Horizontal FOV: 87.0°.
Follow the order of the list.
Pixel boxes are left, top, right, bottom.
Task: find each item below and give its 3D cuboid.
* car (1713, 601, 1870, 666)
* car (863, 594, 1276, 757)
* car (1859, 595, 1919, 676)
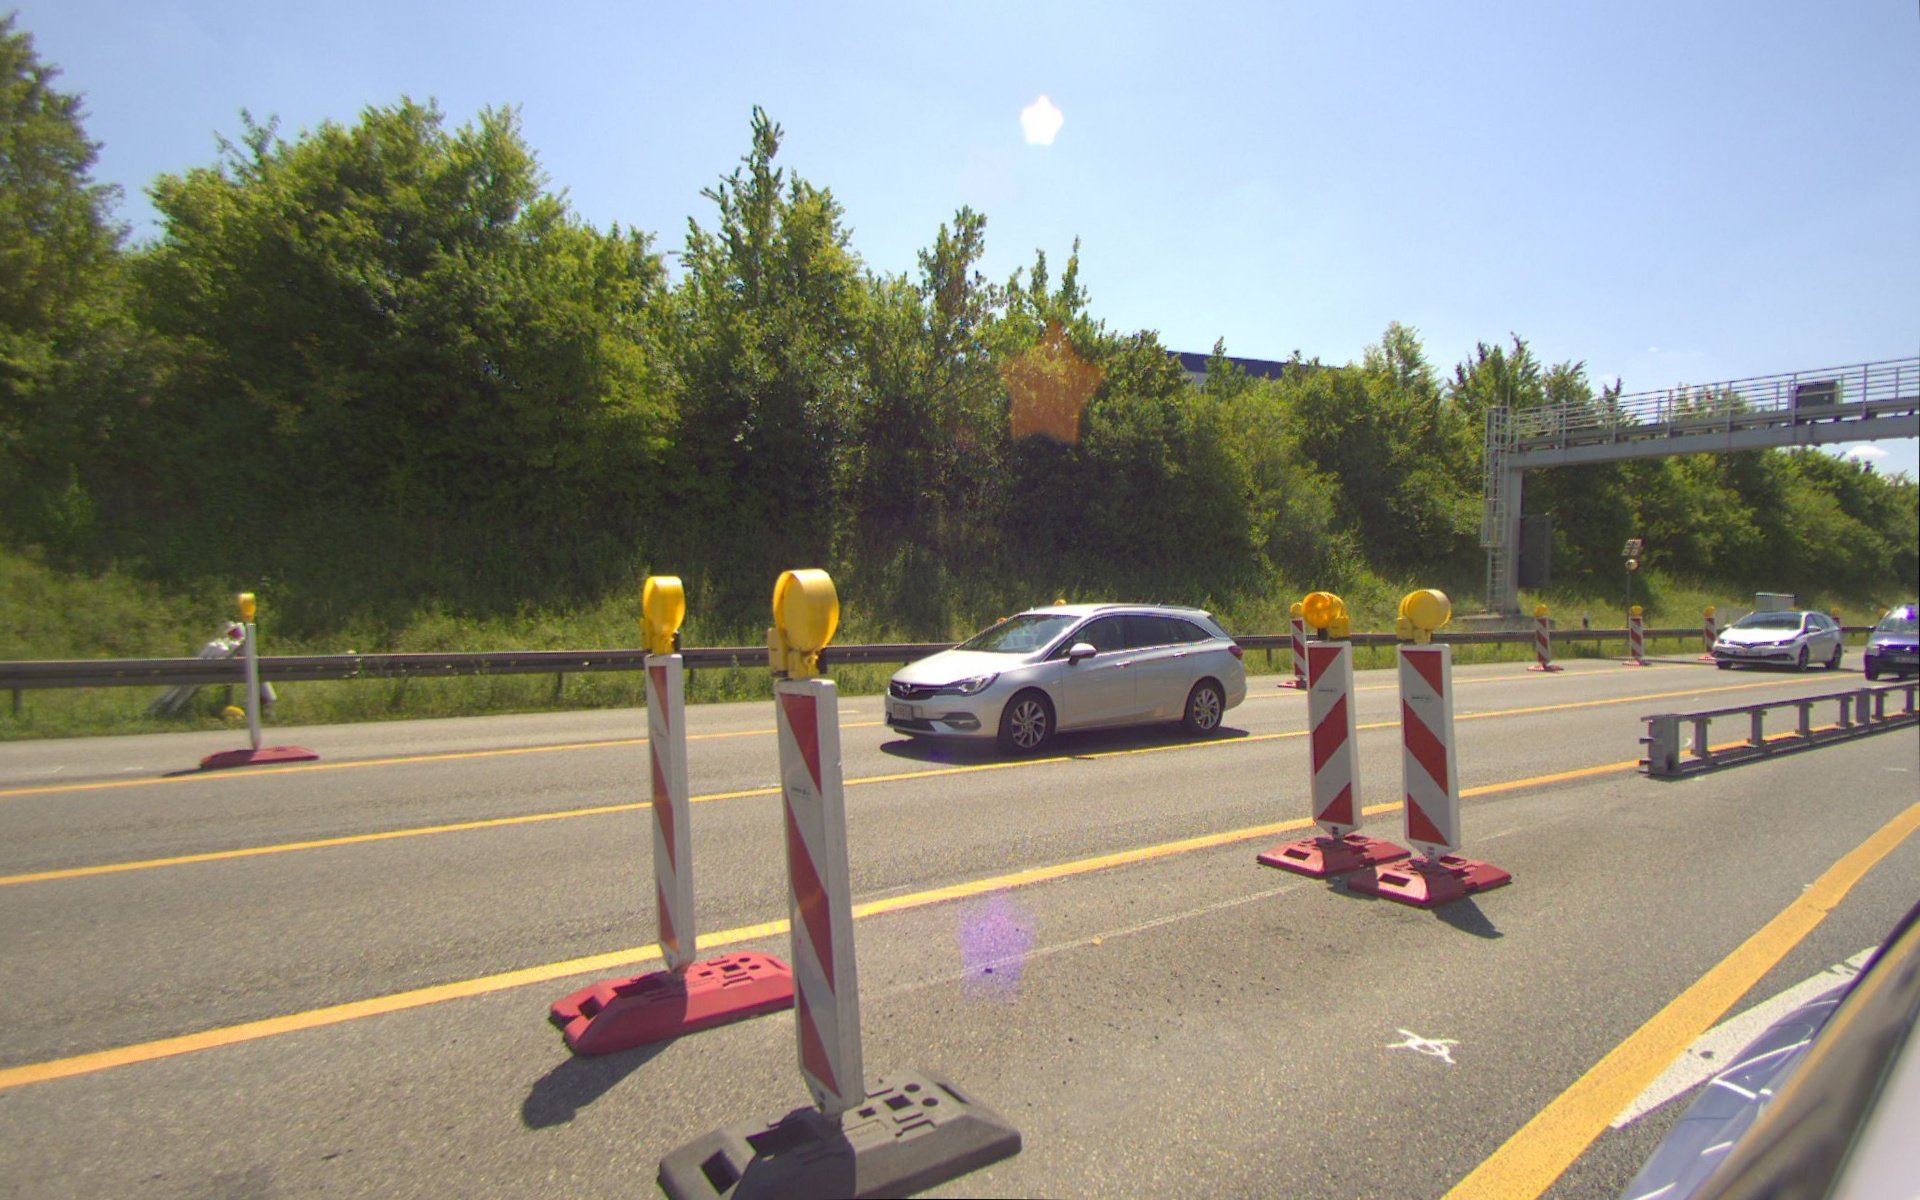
[{"bbox_3d":[21.001,0.784,25.507,4.562,1.483,1.821,0,0,-34],"label":"car"},{"bbox_3d":[1.352,0.695,11.349,4.564,1.483,1.821,0,0,-36],"label":"car"},{"bbox_3d":[21.622,0.730,22.155,4.562,1.663,1.821,0,0,-34],"label":"car"}]
